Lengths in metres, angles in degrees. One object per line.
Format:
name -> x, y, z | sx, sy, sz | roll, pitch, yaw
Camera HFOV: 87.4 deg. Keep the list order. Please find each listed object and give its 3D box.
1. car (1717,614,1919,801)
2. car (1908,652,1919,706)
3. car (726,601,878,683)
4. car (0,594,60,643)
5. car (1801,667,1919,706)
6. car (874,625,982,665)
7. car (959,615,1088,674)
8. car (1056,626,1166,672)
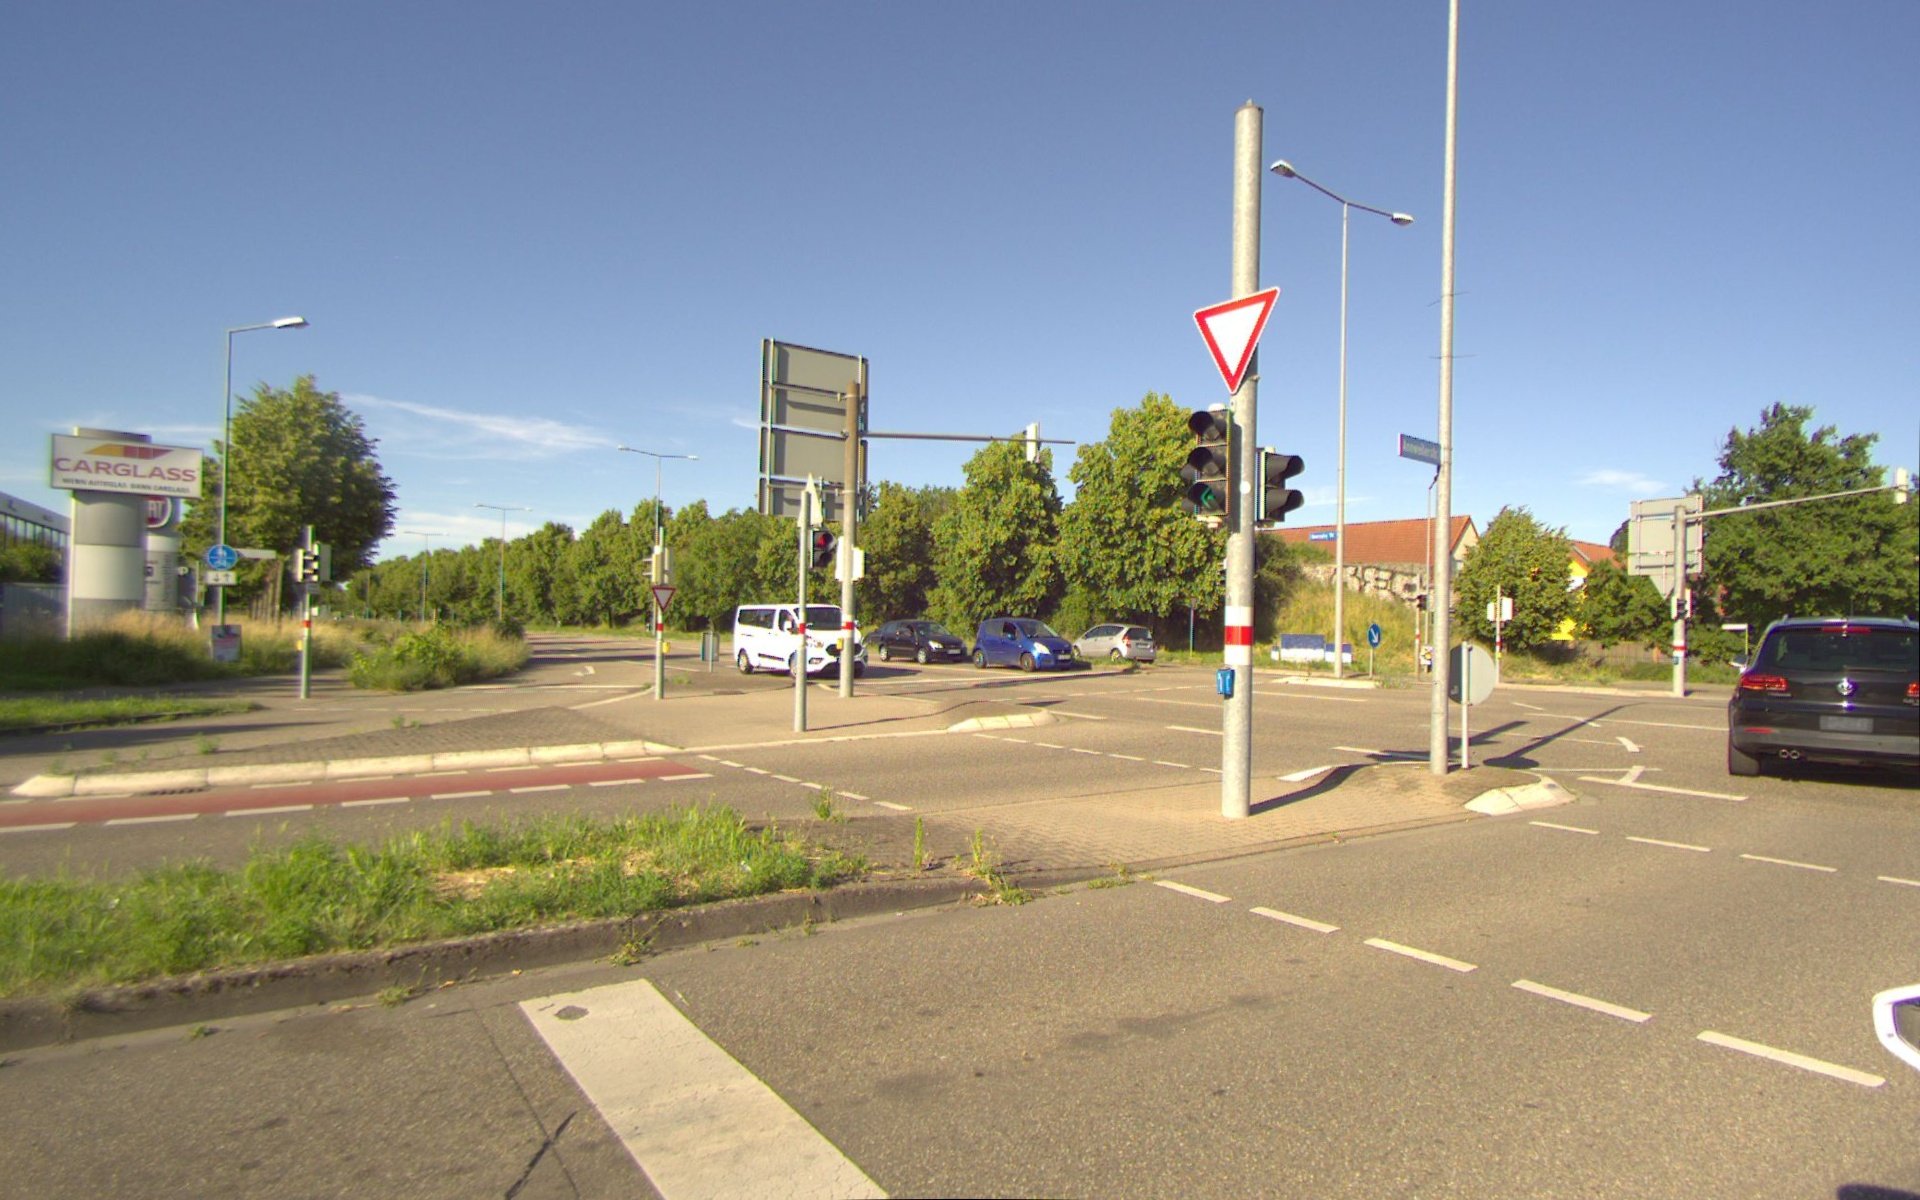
car -> 9.560, 0.993, 10.828 | 1.807, 1.649, 3.976 | 0, 0, 44
car -> 32.190, 2.552, 31.937 | 4.481, 1.665, 1.982 | 3, -3, -33
car -> -4.484, 1.088, 27.778 | 2.028, 2.040, 5.222 | 0, -1, -36
car -> -36.664, 0.674, 38.837 | 1.977, 1.751, 3.966 | 2, 0, -31
car -> 37.394, 3.600, 41.682 | 4.619, 1.326, 2.036 | 4, -3, -24
car -> -1.161, 1.529, 35.069 | 1.875, 1.291, 3.999 | 0, -1, -36
car -> 1.875, 1.303, 30.886 | 1.875, 1.666, 3.999 | 0, -1, -36
car -> 5.874, 1.865, 39.478 | 2.024, 1.638, 4.383 | 0, -1, -30
